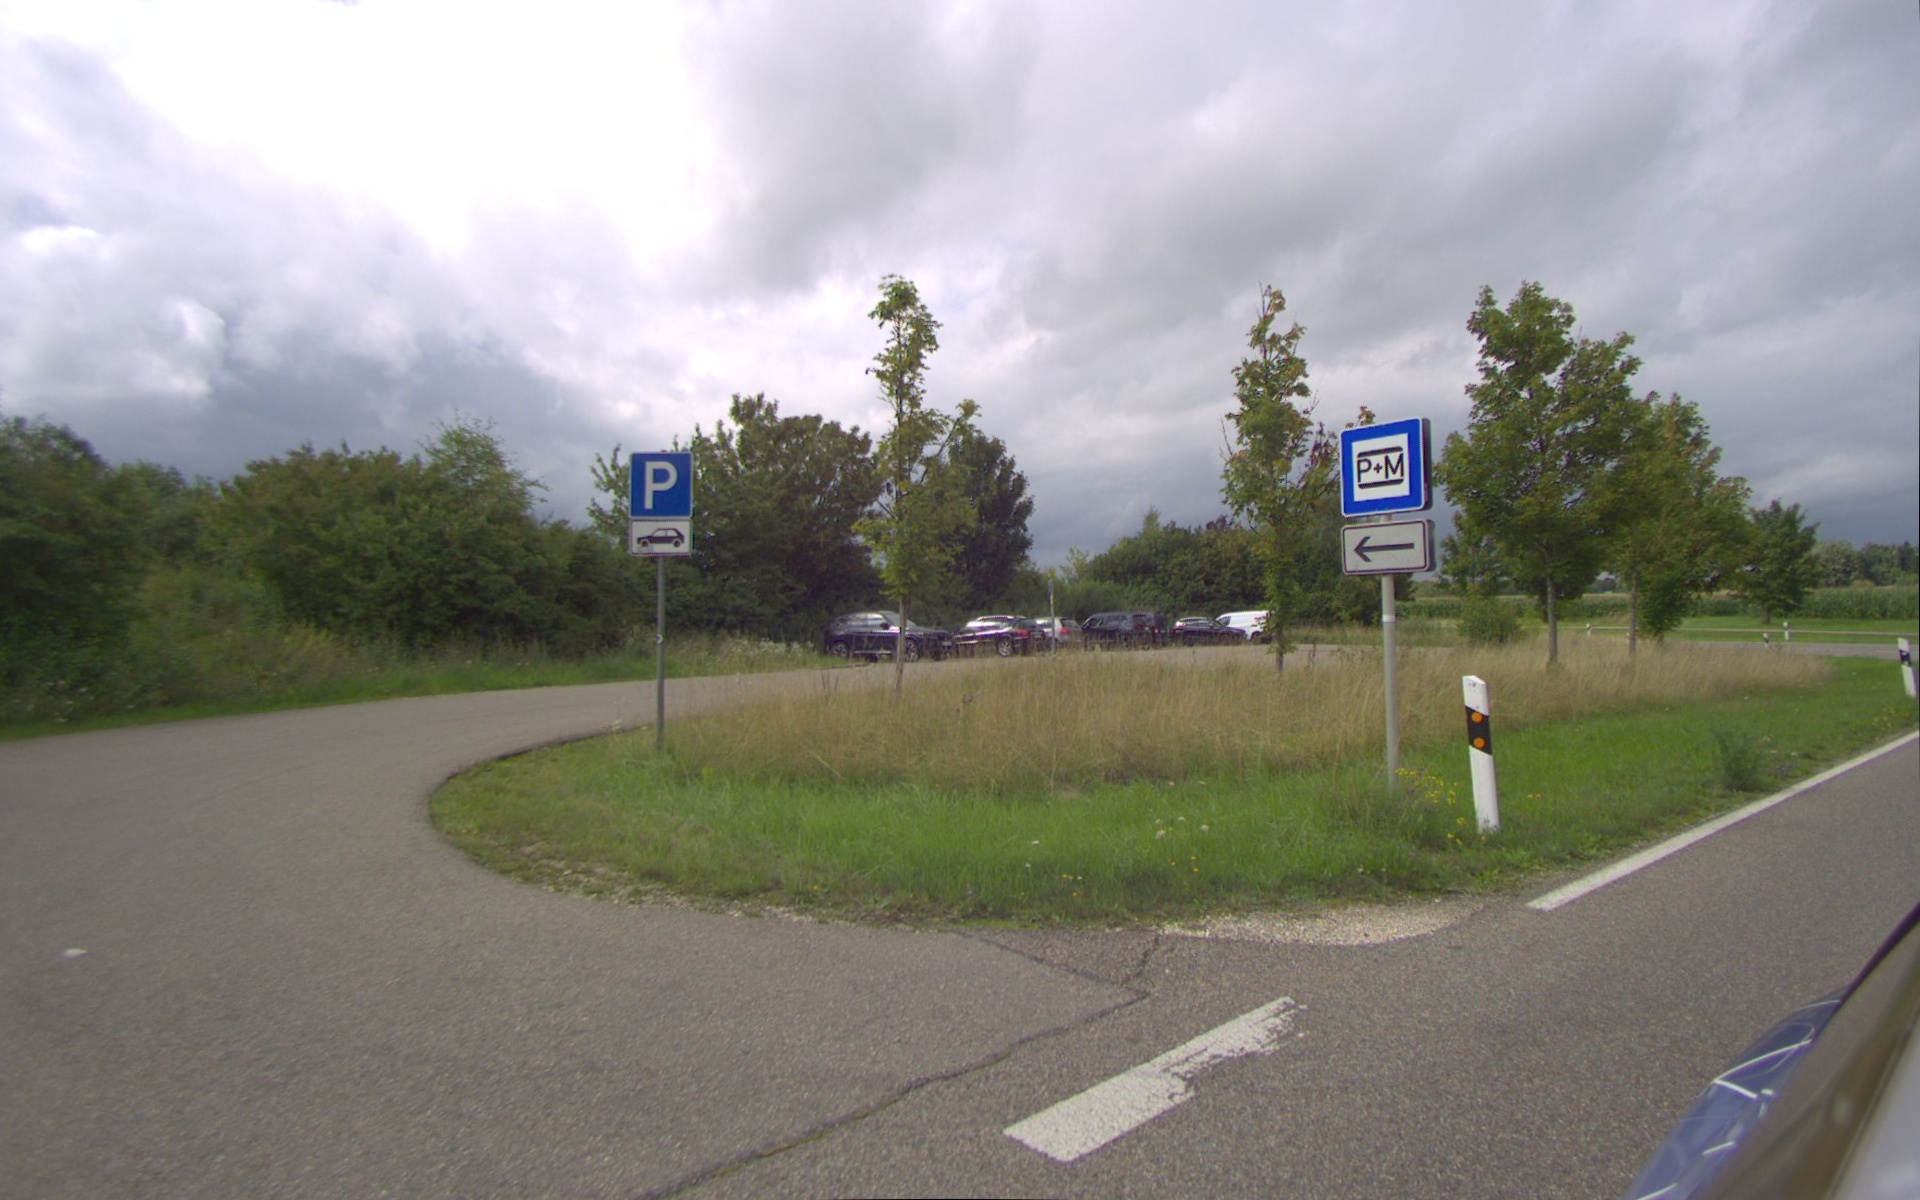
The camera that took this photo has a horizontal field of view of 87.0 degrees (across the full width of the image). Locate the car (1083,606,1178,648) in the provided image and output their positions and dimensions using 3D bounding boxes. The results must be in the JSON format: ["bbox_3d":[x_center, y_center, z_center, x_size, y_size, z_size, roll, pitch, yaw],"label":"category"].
[{"bbox_3d":[7.997,1.260,47.605,3.976,1.883,1.973,-1,-1,37],"label":"car"}]

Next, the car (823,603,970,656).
[{"bbox_3d":[-2.084,0.922,32.637,4.459,1.601,1.976,-1,-1,33],"label":"car"}]

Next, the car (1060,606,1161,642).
[{"bbox_3d":[6.673,1.040,44.951,3.970,1.516,1.976,-1,-1,33],"label":"car"}]

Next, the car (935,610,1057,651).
[{"bbox_3d":[1.312,1.106,37.449,4.135,1.432,1.976,-1,-1,33],"label":"car"}]

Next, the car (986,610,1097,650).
[{"bbox_3d":[3.237,1.167,40.347,3.991,1.524,2.022,-1,-1,40],"label":"car"}]

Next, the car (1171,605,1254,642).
[{"bbox_3d":[13.478,1.229,54.077,3.976,1.883,1.721,-1,-1,37],"label":"car"}]

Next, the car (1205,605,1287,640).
[{"bbox_3d":[15.847,1.227,56.134,3.976,1.883,1.973,-1,-1,37],"label":"car"}]
